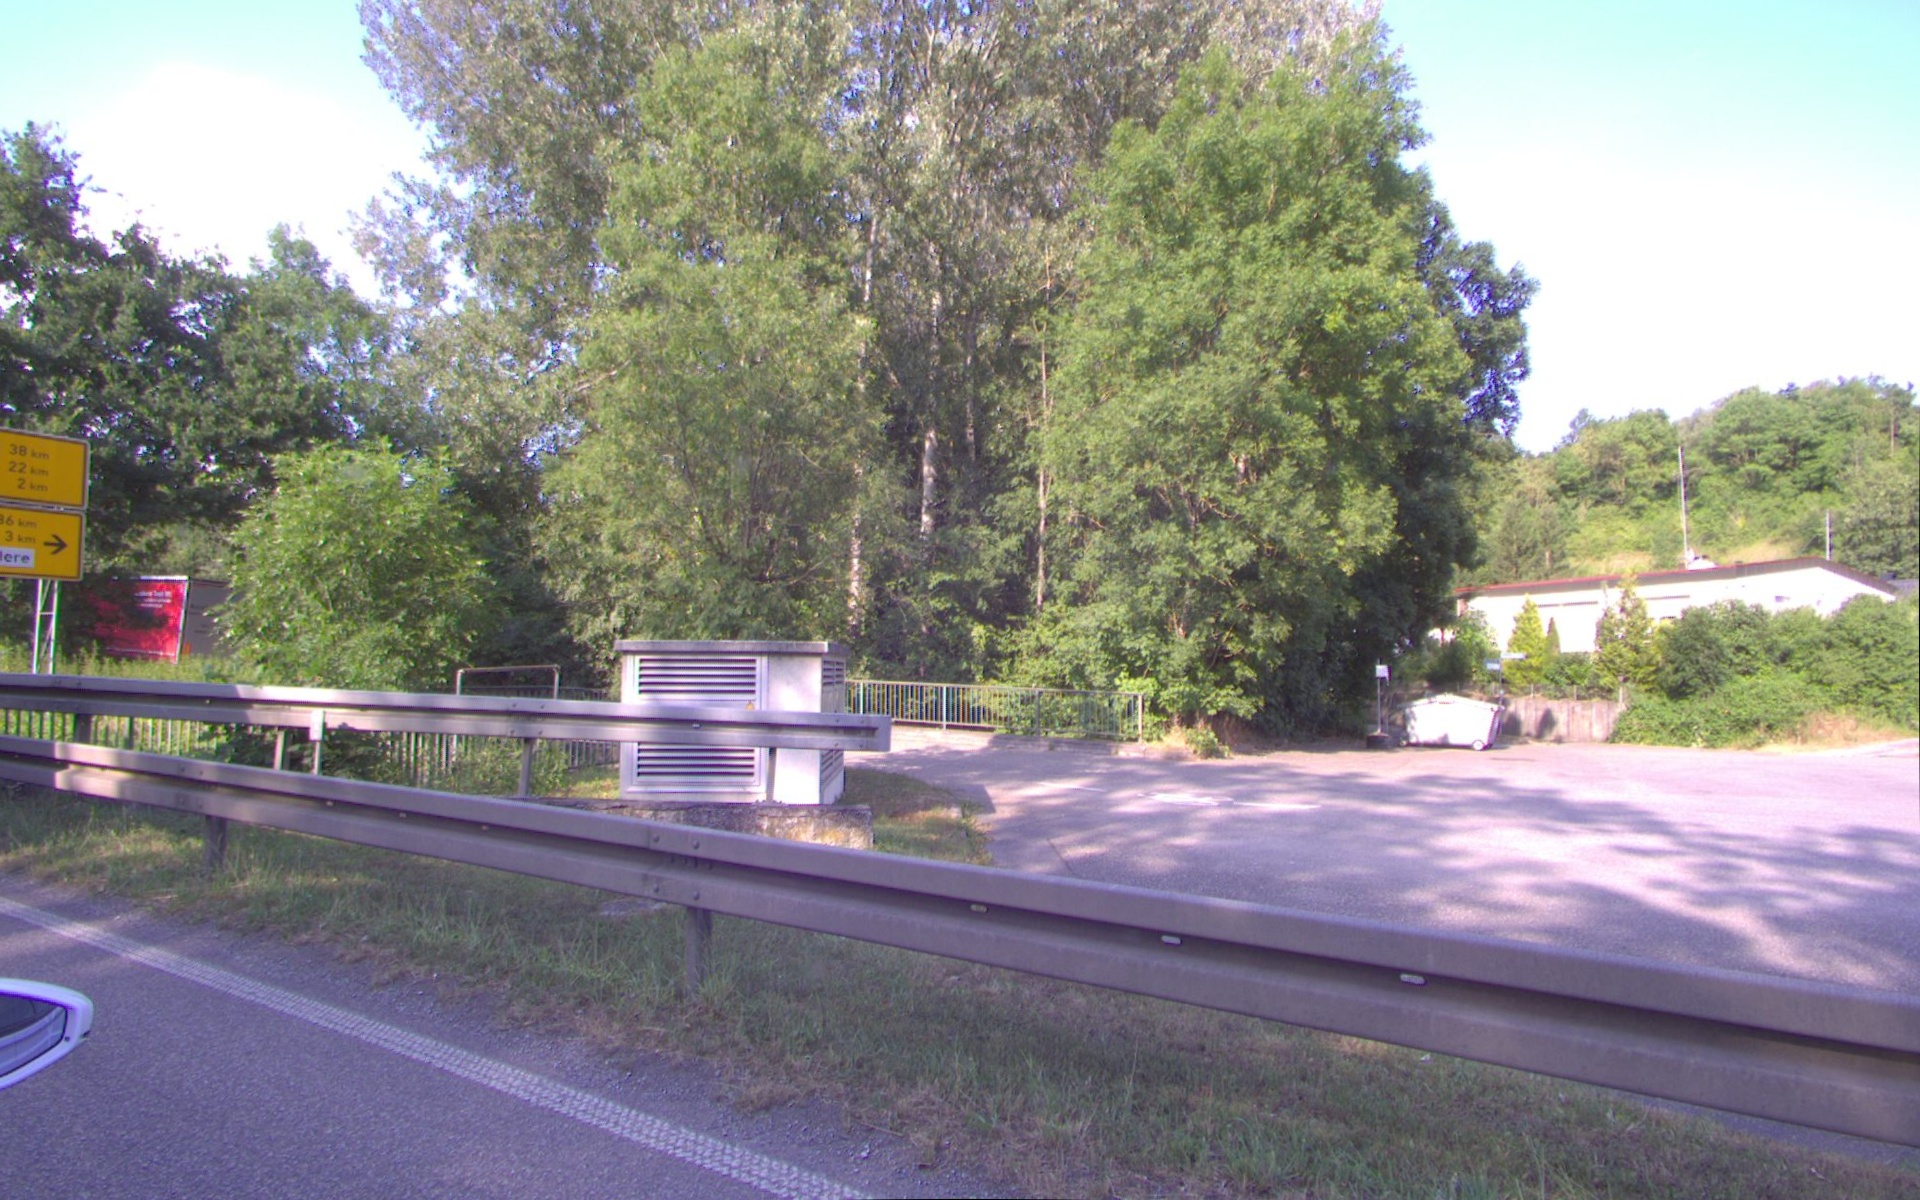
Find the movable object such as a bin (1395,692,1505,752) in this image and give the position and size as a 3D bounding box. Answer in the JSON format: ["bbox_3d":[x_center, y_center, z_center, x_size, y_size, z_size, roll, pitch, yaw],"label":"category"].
[{"bbox_3d":[13.063,3.239,26.708,2.521,1.436,1.265,-1,-6,32],"label":"movable object such as a bin"}]
